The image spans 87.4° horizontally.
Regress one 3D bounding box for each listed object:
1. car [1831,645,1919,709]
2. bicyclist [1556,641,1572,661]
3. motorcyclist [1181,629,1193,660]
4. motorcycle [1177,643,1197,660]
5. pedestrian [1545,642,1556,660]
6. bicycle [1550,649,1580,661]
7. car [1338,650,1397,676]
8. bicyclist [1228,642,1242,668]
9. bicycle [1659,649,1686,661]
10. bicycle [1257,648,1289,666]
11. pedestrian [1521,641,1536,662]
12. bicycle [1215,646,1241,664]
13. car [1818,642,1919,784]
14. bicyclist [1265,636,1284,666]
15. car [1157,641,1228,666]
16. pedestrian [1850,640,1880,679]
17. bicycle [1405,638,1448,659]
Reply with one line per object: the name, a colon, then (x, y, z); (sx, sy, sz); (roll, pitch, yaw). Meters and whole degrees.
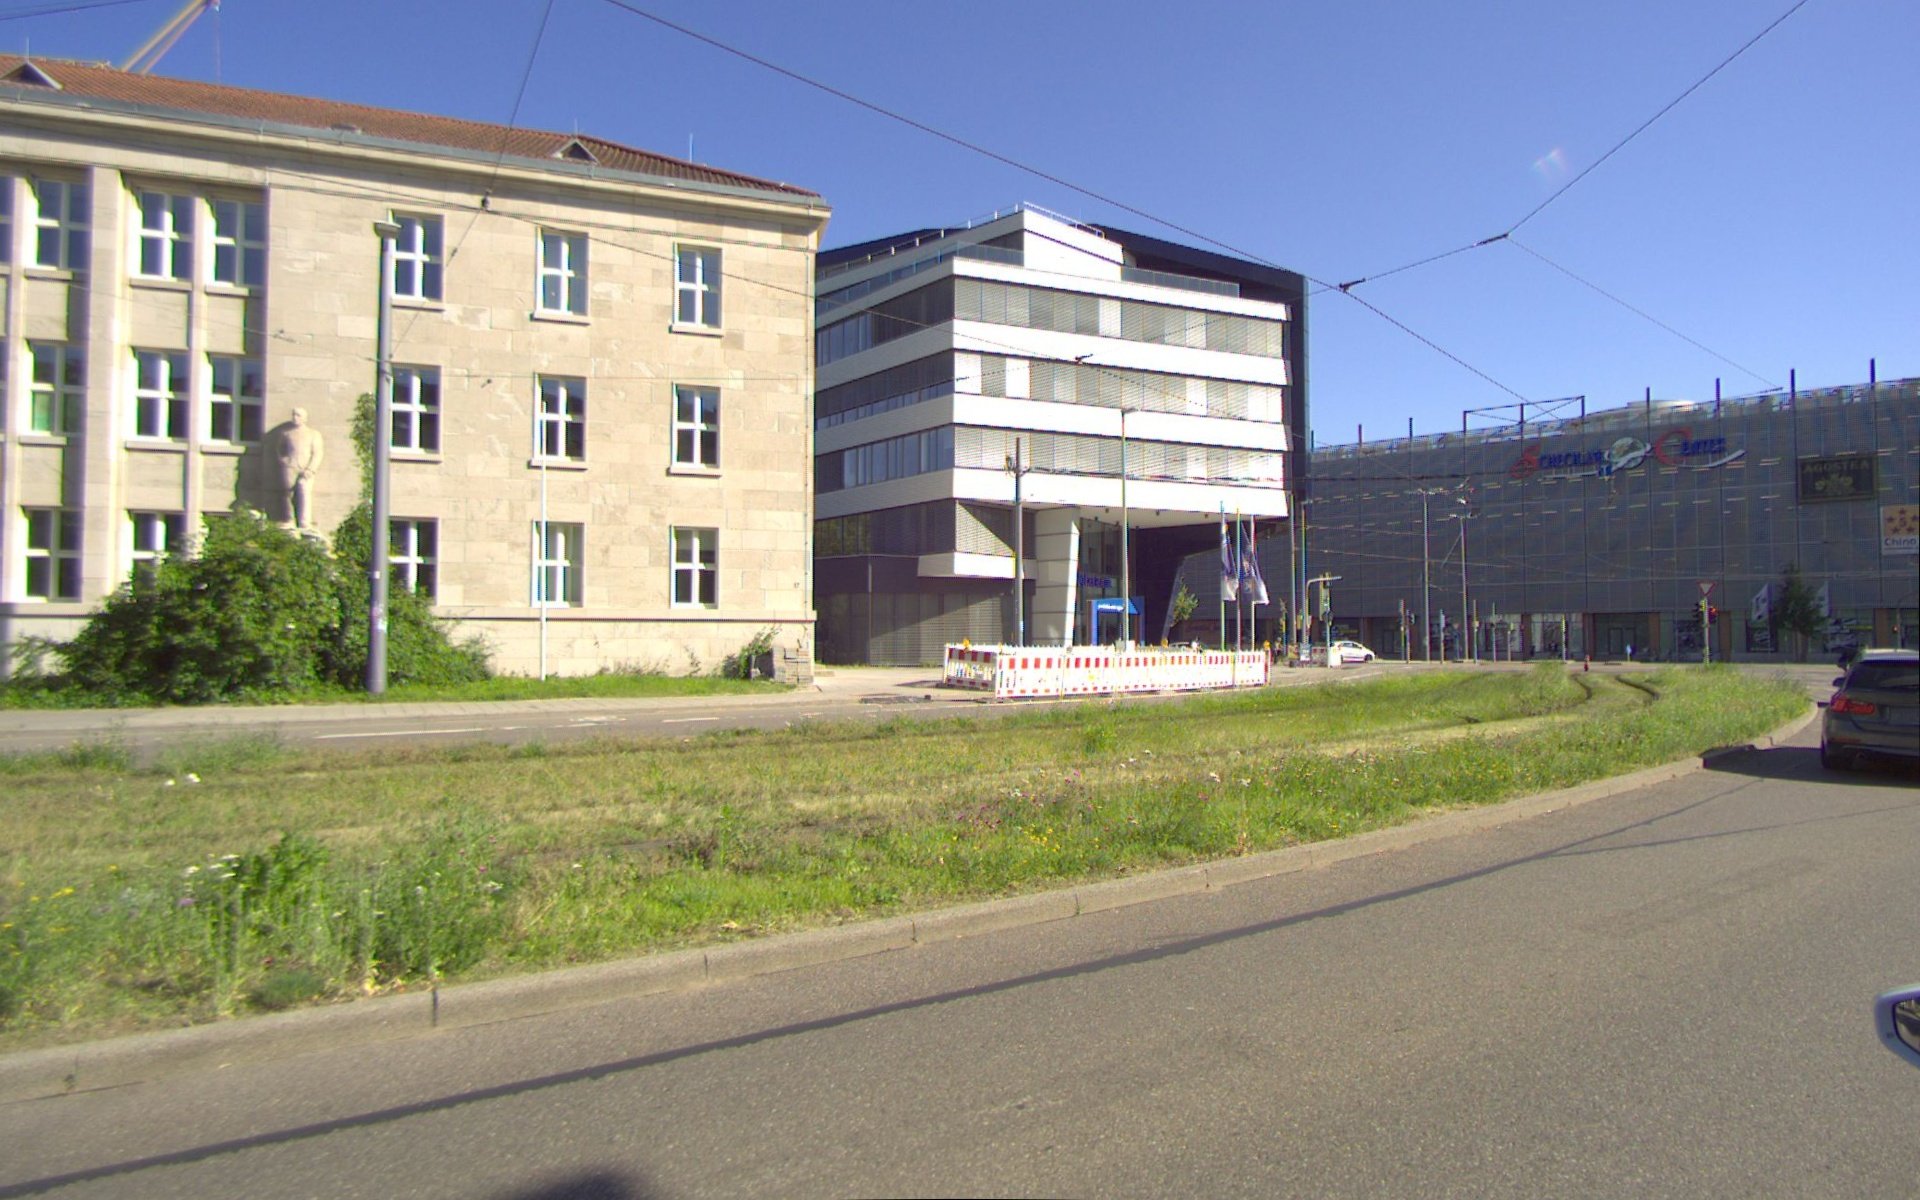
car: (23.106, 1.882, 25.040); (1.610, 1.442, 3.772); (2, -1, 34)
bicyclist: (55.085, 4.669, 91.609); (0.829, 1.826, 0.815); (0, -2, -7)
motorcyclist: (15.203, 2.974, 67.267); (0.619, 2.040, 0.496); (-1, -2, 35)
motorcycle: (15.191, 3.440, 67.248); (1.170, 1.136, 0.482); (-1, -3, 34)
pedestrian: (57.981, 5.012, 98.582); (0.836, 1.787, 0.618); (-1, -3, 34)
bicycle: (55.168, 5.047, 91.600); (2.203, 1.084, 1.045); (0, -2, -6)
car: (30.964, 4.789, 76.384); (3.933, 1.817, 1.753); (2, -2, -15)
bicyclist: (18.092, 3.624, 66.091); (0.771, 1.670, 0.688); (-1, -2, 32)
bicycle: (65.233, 4.993, 91.973); (1.999, 1.073, 1.142); (-2, -3, 34)
bicycle: (20.205, 3.667, 64.778); (1.804, 1.131, 0.851); (0, -2, 35)
pedestrian: (52.974, 4.811, 93.622); (0.807, 1.892, 0.904); (1, -2, -13)
bicycle: (17.710, 3.632, 66.381); (1.553, 1.121, 0.733); (-1, -2, 31)
car: (11.680, 1.301, 12.015); (4.438, 1.442, 1.717); (3, -1, -44)
bicyclist: (20.272, 3.270, 64.751); (0.890, 1.883, 0.852); (-1, -3, 35)
car: (16.199, 3.690, 70.048); (4.428, 1.656, 1.834); (-1, -2, 34)
pedestrian: (40.452, 2.653, 44.901); (0.874, 1.730, 0.710); (-1, -3, 34)
bicycle: (48.889, 5.075, 105.278); (3.934, 2.040, 1.326); (-1, -2, 35)
